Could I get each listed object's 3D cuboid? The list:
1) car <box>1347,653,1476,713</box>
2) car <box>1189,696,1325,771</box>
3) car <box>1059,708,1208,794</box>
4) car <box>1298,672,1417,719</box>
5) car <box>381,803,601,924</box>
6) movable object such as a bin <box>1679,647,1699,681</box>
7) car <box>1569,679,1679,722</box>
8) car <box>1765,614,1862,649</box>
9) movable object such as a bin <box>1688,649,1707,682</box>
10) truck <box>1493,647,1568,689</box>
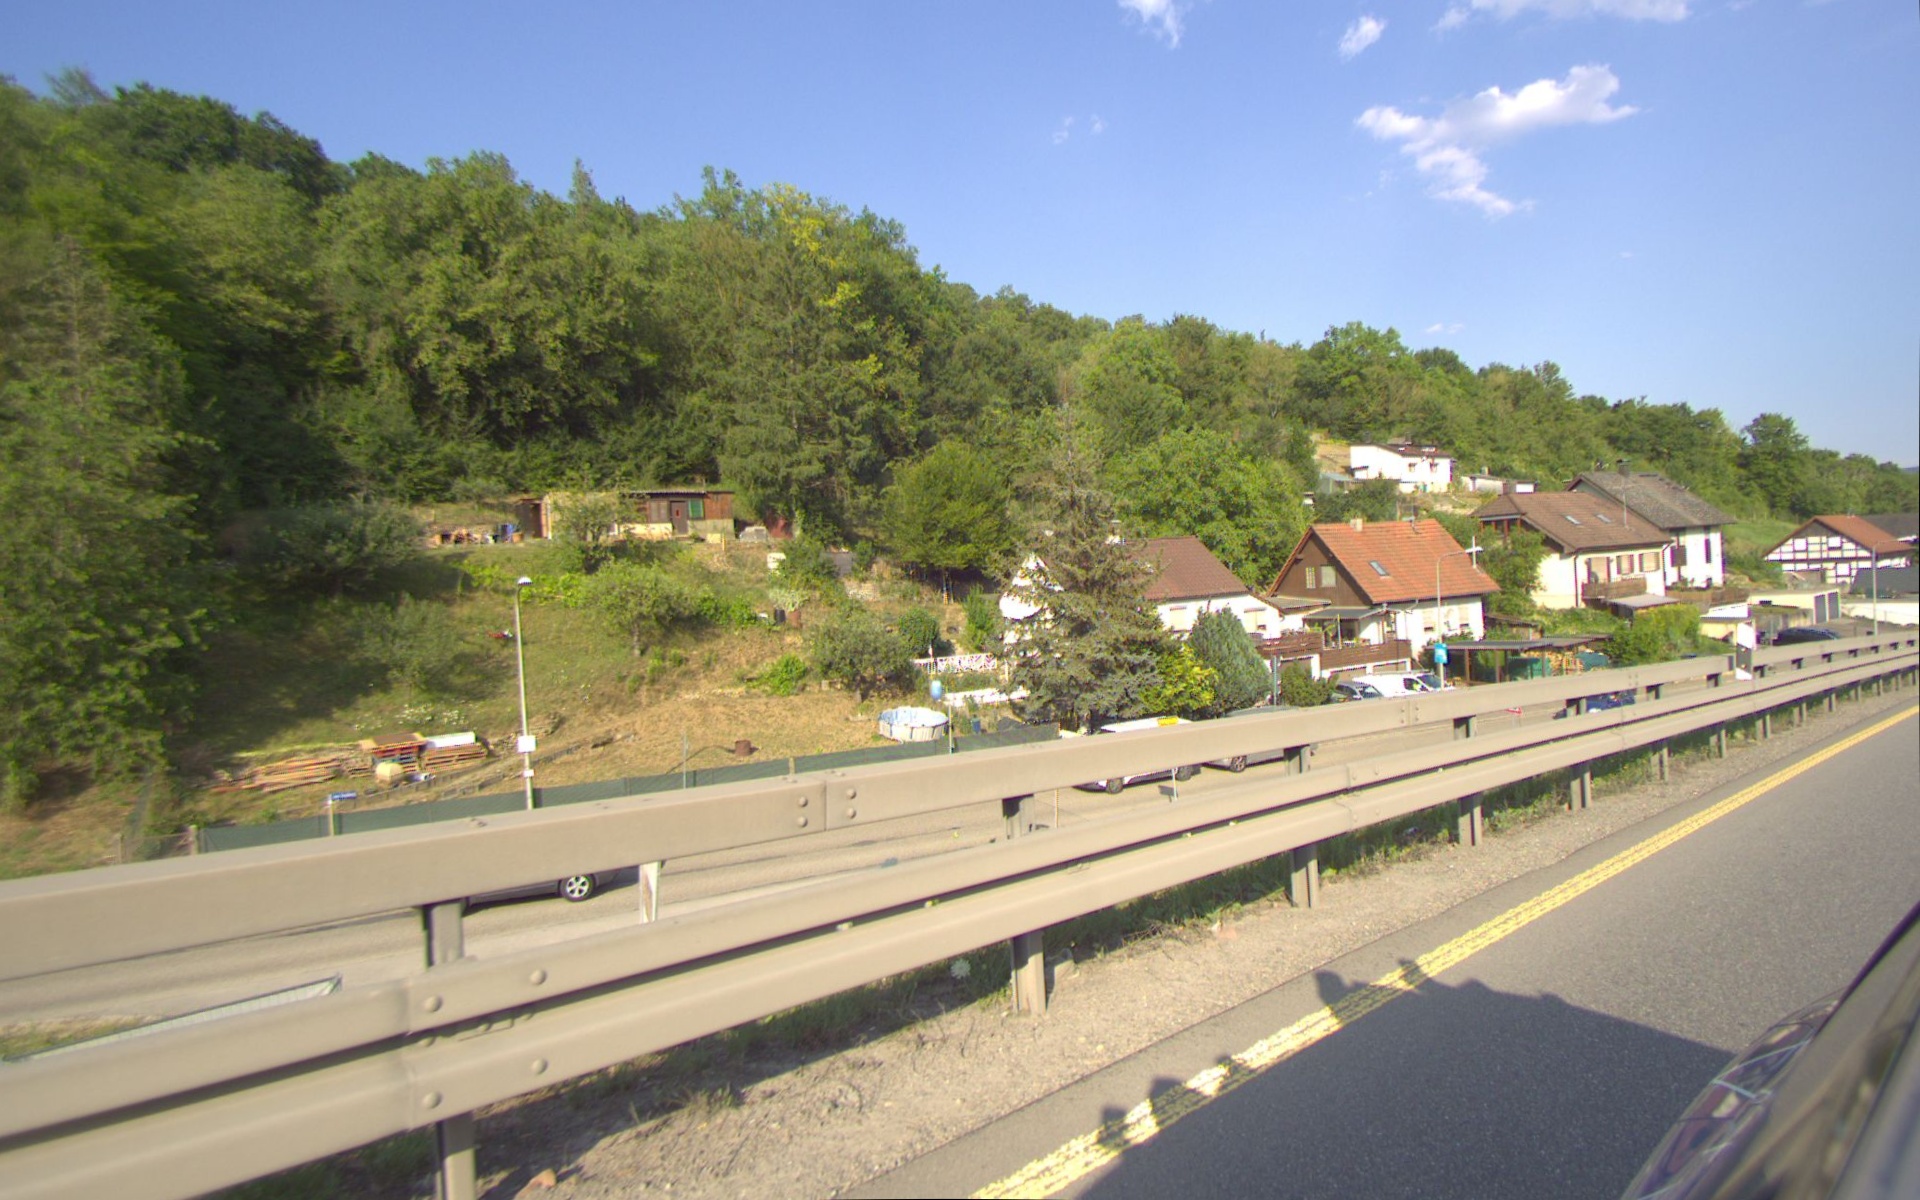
[{"bbox_3d":[21.502,3.893,48.423,1.961,2.292,5.488,-2,1,-31],"label":"car"},{"bbox_3d":[10.850,4.789,36.916,4.767,1.940,2.005,-3,3,-29],"label":"car"},{"bbox_3d":[5.912,5.022,34.197,4.953,2.010,1.870,-3,3,-31],"label":"car"},{"bbox_3d":[18.261,4.338,46.760,1.682,1.576,5.111,-2,2,-31],"label":"car"},{"bbox_3d":[-10.684,5.947,23.249,4.405,1.807,1.872,0,1,-26],"label":"car"},{"bbox_3d":[40.189,3.544,55.795,0.400,1.794,0.537,-2,-8,-26],"label":"movable object such as a bin"},{"bbox_3d":[28.489,4.287,43.484,3.543,1.619,1.775,-2,-3,-8],"label":"car"},{"bbox_3d":[57.752,2.091,68.546,1.961,1.542,4.519,-3,9,-30],"label":"car"},{"bbox_3d":[40.928,3.636,56.174,0.405,1.794,0.491,-2,-8,-26],"label":"movable object such as a bin"},{"bbox_3d":[30.262,3.583,53.804,1.967,1.760,3.990,-6,-1,8],"label":"truck"}]
